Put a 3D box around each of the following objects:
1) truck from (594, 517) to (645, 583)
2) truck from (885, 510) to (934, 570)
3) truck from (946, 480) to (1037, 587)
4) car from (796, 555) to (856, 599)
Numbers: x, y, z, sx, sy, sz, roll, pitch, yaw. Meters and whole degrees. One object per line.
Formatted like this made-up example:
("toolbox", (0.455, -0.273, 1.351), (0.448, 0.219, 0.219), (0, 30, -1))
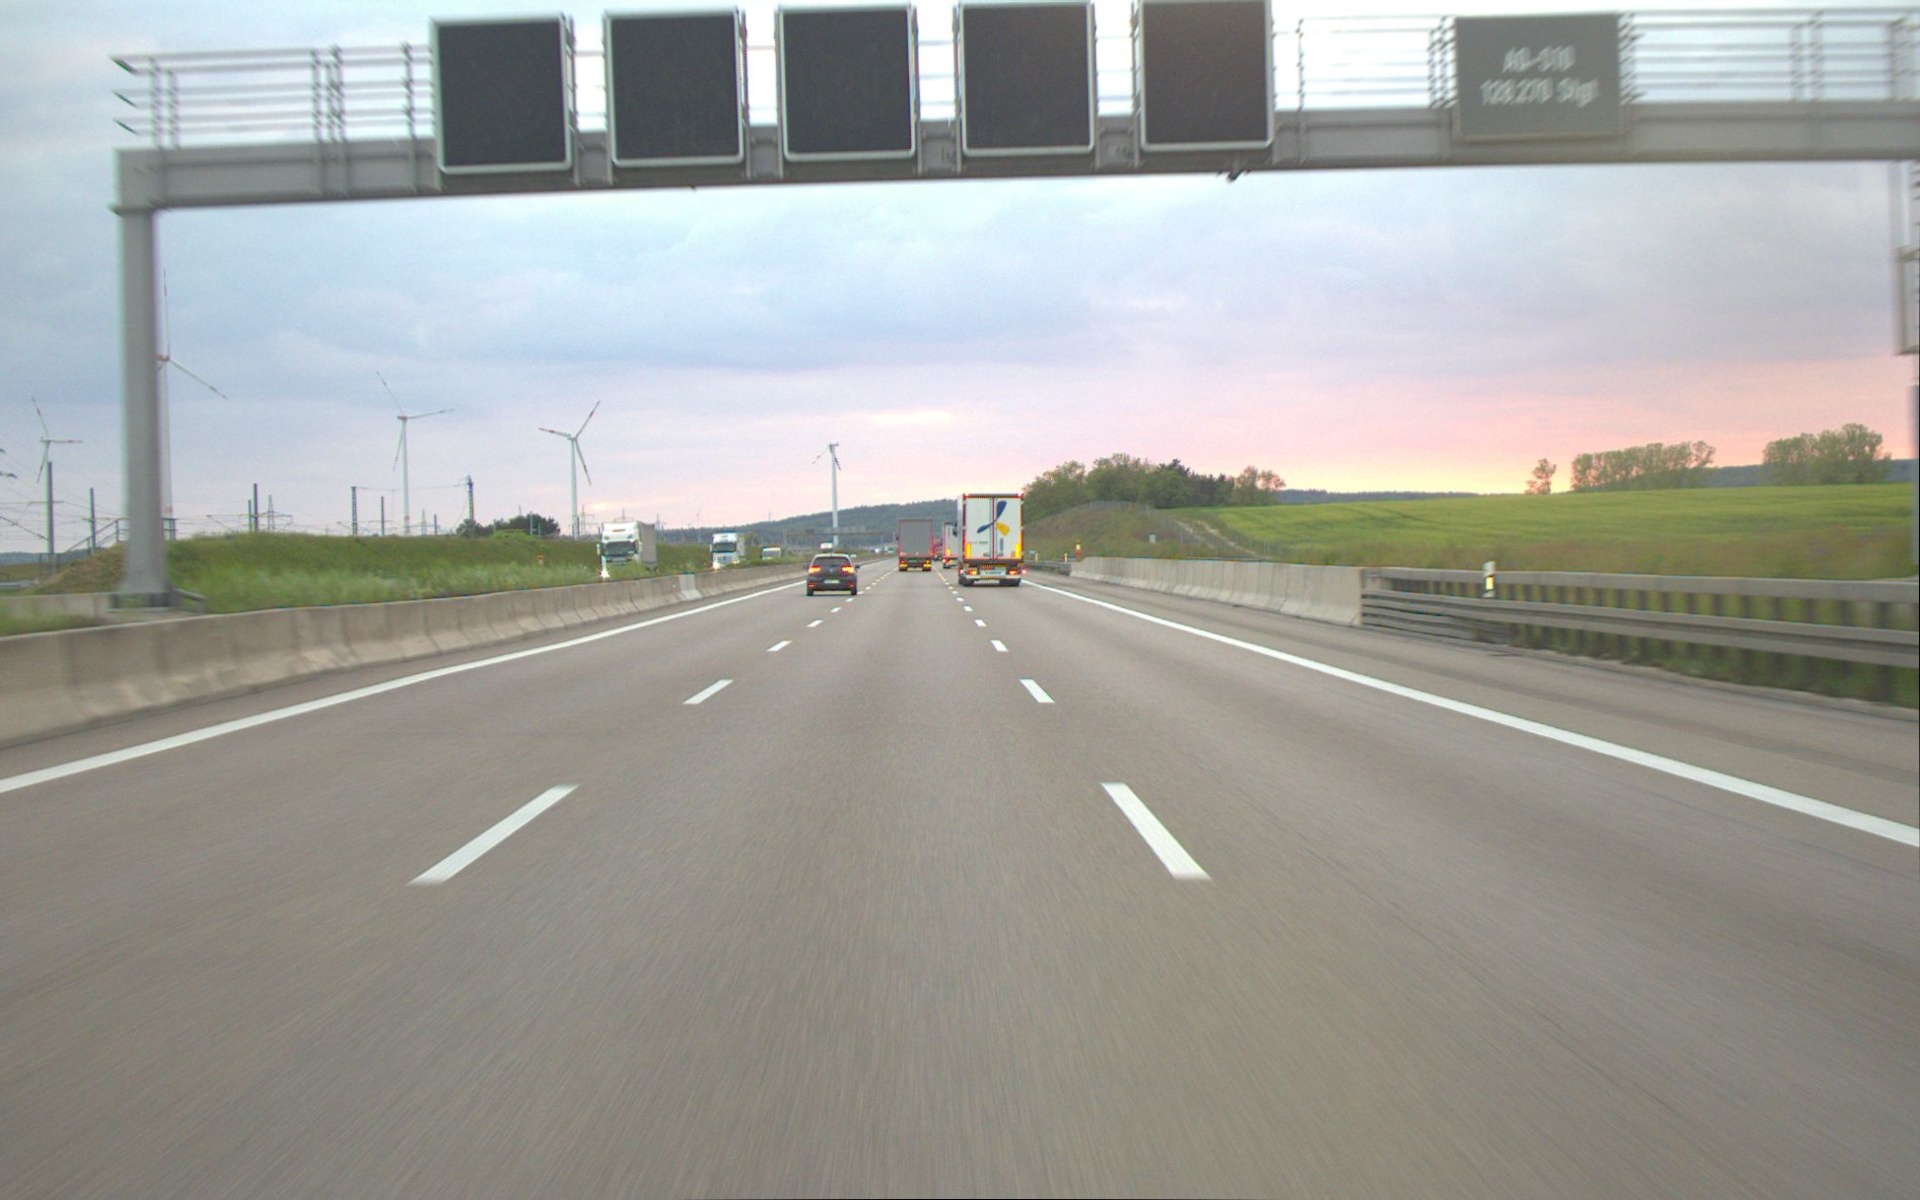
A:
("truck", (-22.891, -3.390, 231.619), (2.817, 4.337, 6.739), (0, 1, 0))
("truck", (-3.861, -4.578, 263.119), (3.647, 4.399, 8.636), (-1, 1, -1))
("truck", (1.321, -2.921, 151.715), (3.675, 4.549, 10.982), (0, 1, -1))
("car", (-4.659, -0.824, 119.881), (1.987, 1.425, 4.001), (-2, 1, -2))
